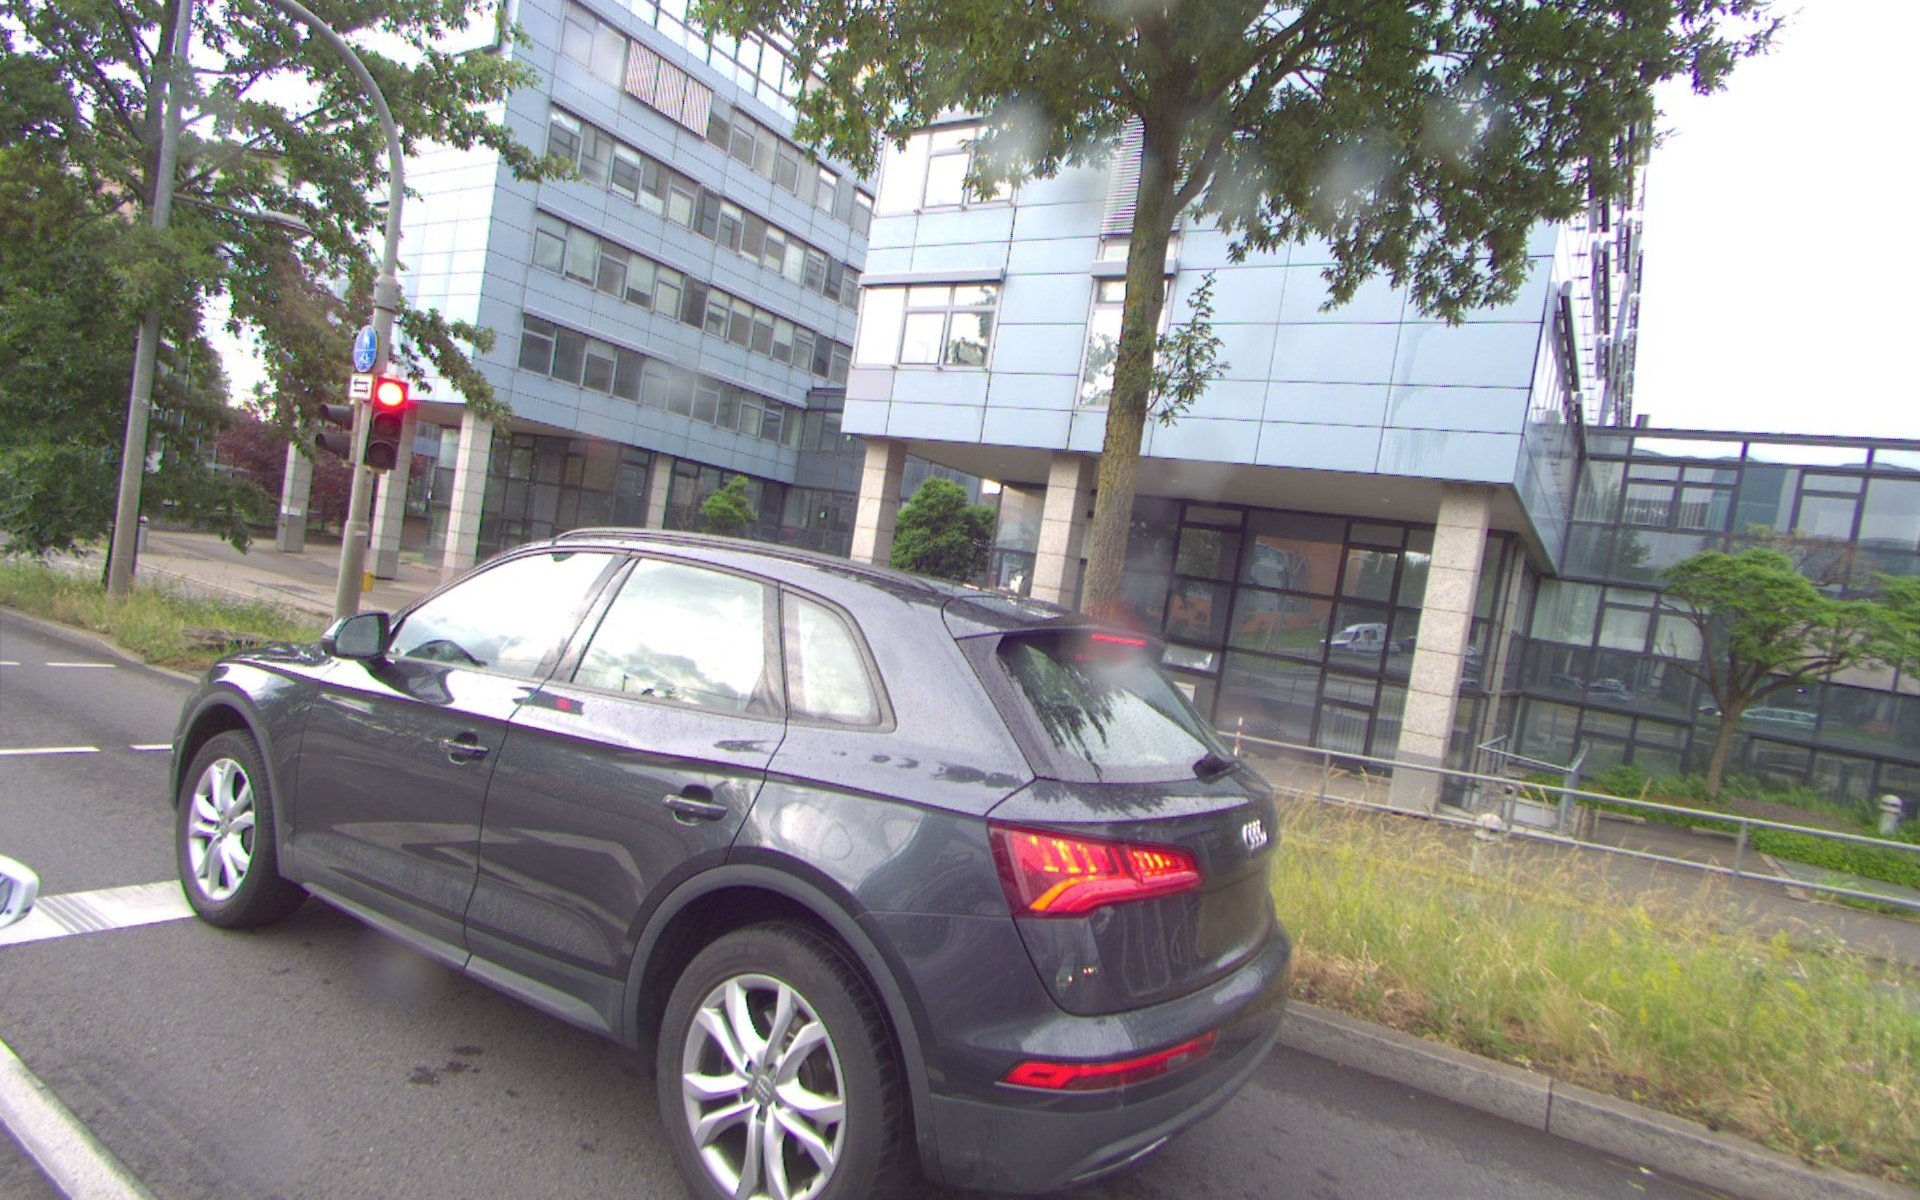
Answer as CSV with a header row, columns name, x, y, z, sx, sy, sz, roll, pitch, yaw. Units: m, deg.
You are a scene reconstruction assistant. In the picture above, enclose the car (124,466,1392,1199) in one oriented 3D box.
name,x,y,z,sx,sy,sz,roll,pitch,yaw
car,-0.983,0.574,3.721,4.396,1.632,1.821,7,-1,32
